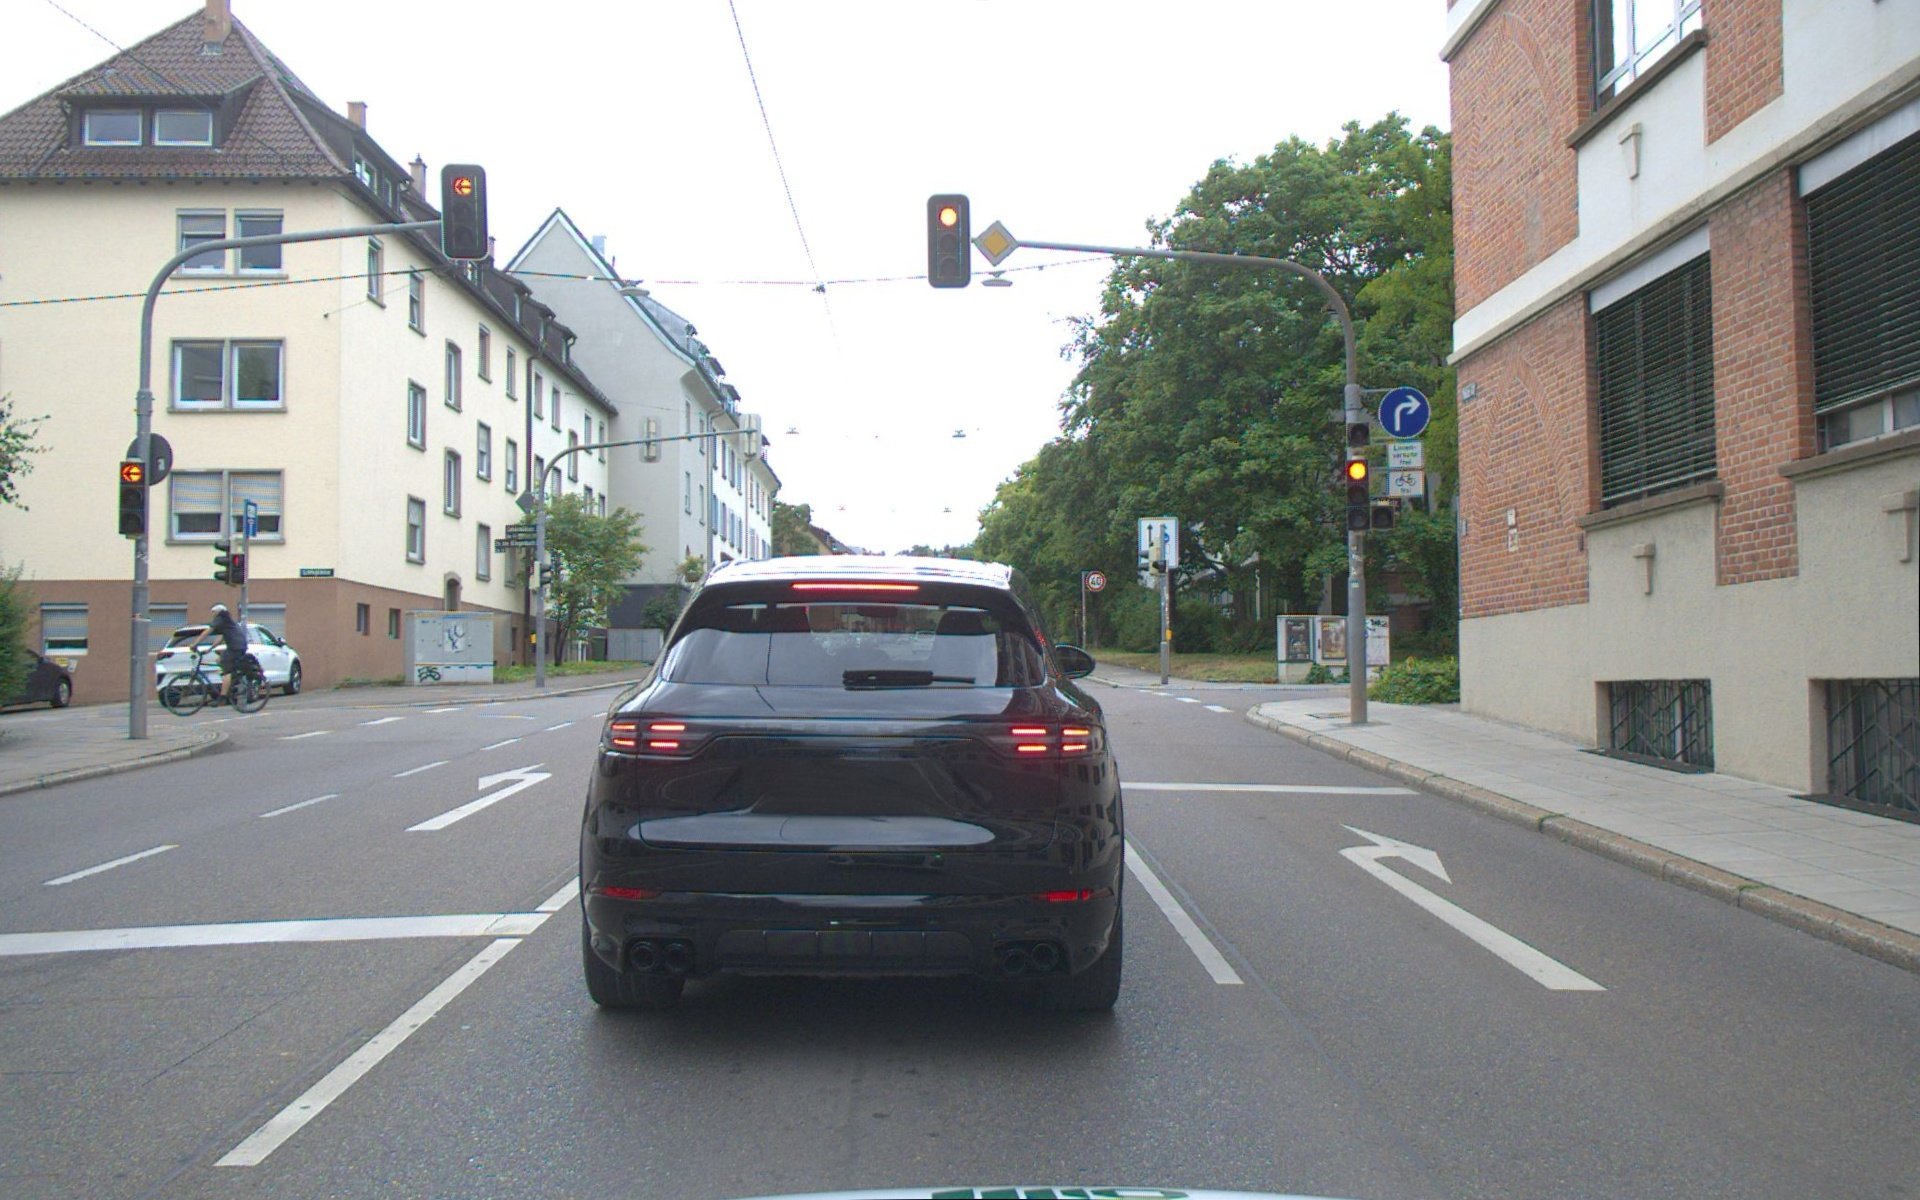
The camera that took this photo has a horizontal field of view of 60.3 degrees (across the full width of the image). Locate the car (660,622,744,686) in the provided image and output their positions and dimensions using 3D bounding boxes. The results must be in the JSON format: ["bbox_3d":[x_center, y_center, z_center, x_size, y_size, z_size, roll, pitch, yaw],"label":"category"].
[{"bbox_3d":[-7.044,1.438,45.458,1.630,1.545,3.739,-4,0,0],"label":"car"}]

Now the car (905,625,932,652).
[{"bbox_3d":[-2.664,2.447,105.879,1.654,1.579,3.887,1,0,-2],"label":"car"}]

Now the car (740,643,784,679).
[{"bbox_3d":[-8.296,2.536,69.541,1.637,1.386,3.997,0,0,-4],"label":"car"}]

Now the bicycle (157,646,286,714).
[{"bbox_3d":[-12.517,1.351,28.079,1.872,1.100,0.701,1,0,-12],"label":"bicycle"}]

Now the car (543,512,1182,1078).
[{"bbox_3d":[-0.325,0.616,7.131,1.953,1.726,3.999,1,0,-1],"label":"car"}]

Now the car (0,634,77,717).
[{"bbox_3d":[-19.723,1.557,33.317,1.636,1.573,4.100,-3,0,-1],"label":"car"}]

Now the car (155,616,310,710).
[{"bbox_3d":[-14.749,1.234,33.765,1.638,1.691,3.995,-3,0,-5],"label":"car"}]

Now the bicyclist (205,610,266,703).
[{"bbox_3d":[-12.319,0.959,28.131,0.795,1.546,0.704,1,-1,-12],"label":"bicyclist"}]
